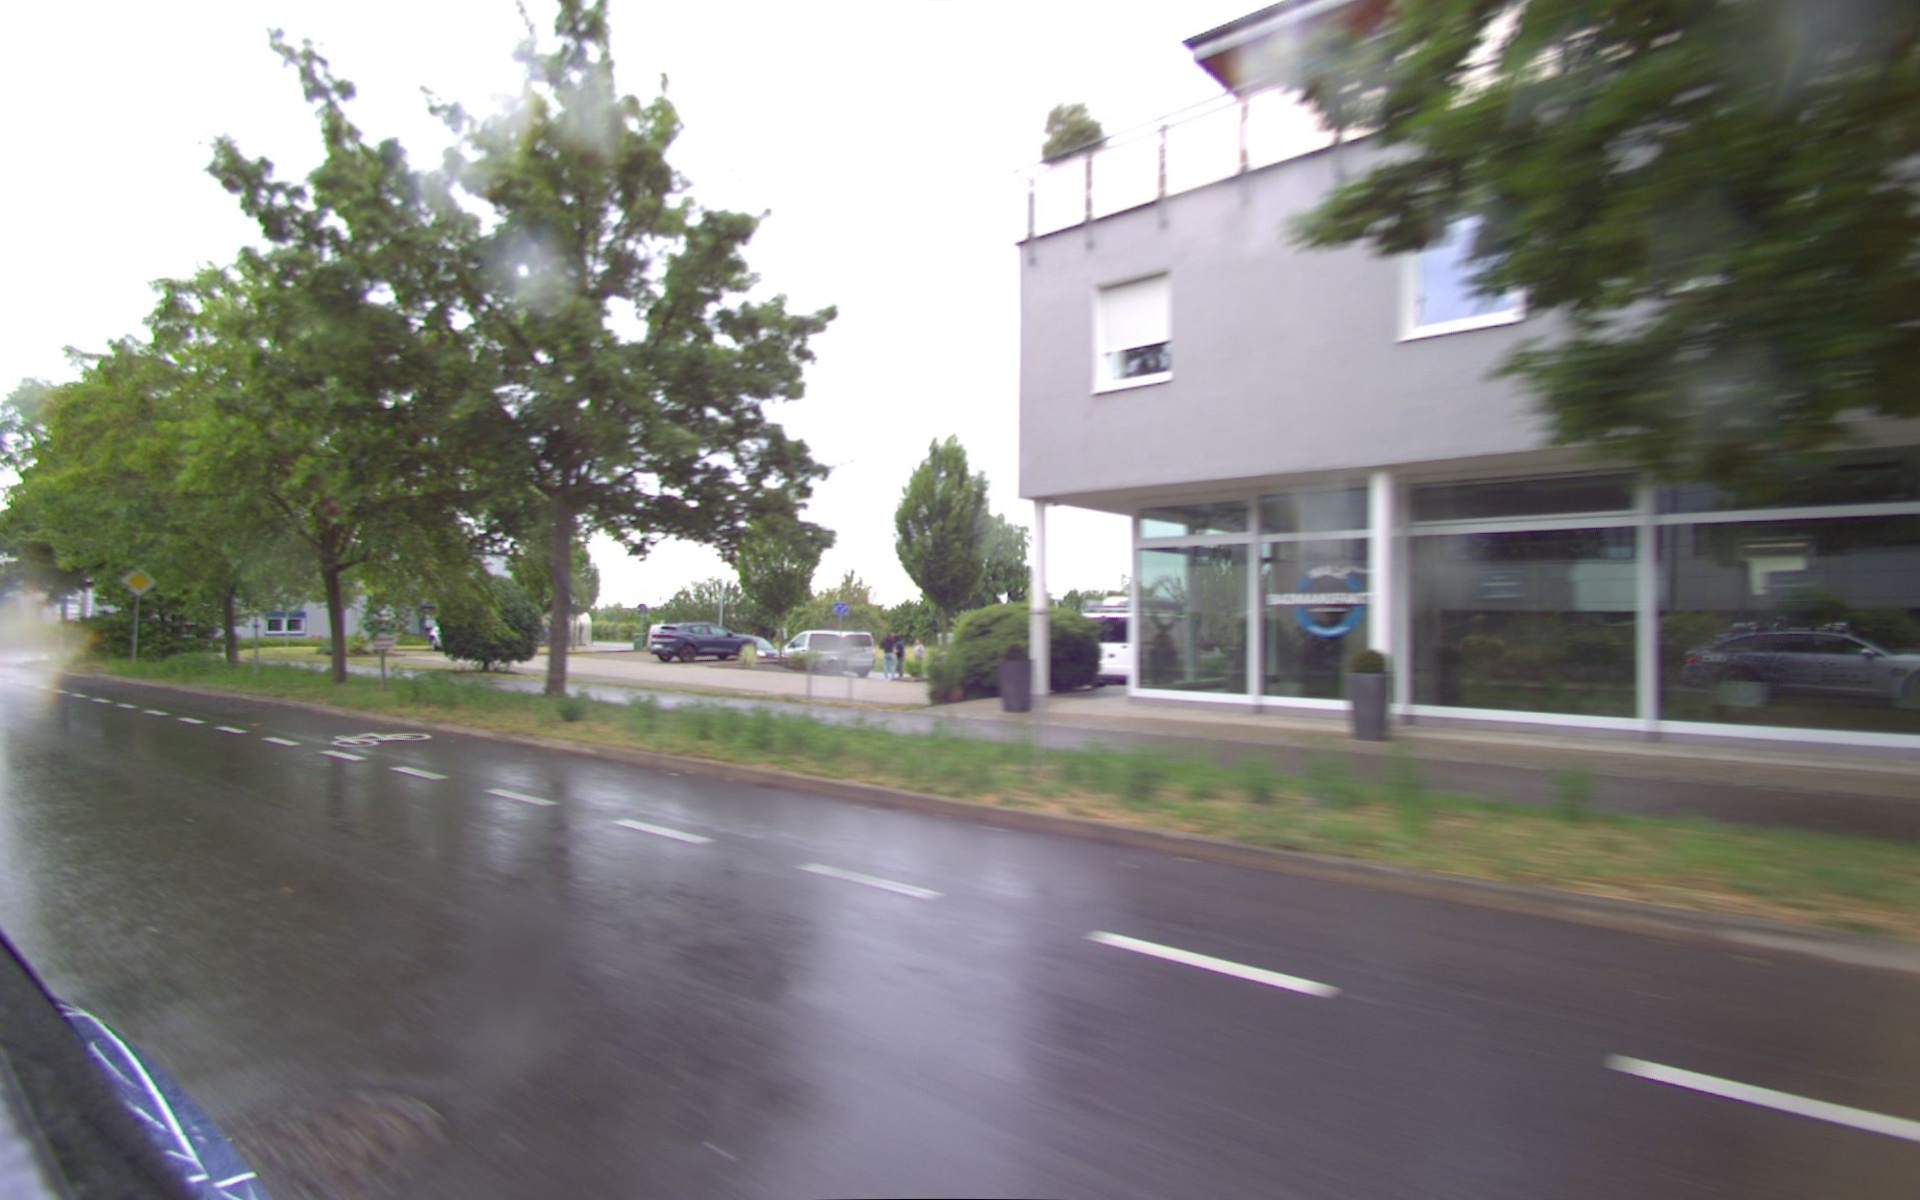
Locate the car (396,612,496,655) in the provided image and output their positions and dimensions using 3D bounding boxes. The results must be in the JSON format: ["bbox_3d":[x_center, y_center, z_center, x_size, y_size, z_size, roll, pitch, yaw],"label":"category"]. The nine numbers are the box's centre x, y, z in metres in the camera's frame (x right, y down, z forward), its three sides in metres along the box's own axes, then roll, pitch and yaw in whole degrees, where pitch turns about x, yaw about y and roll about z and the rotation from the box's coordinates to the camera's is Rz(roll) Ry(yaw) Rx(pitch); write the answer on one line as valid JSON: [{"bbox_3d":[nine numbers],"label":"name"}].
[{"bbox_3d":[-23.608,1.527,46.373,5.603,1.836,2.013,-2,-2,39],"label":"car"}]

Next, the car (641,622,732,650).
[{"bbox_3d":[-13.324,1.766,49.223,4.652,1.239,1.961,-2,-1,40],"label":"car"}]

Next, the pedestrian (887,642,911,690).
[{"bbox_3d":[-2.381,2.561,39.467,0.757,1.851,0.682,-2,-1,10],"label":"pedestrian"}]

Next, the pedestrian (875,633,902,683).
[{"bbox_3d":[-2.712,2.201,38.361,0.764,1.851,0.676,-2,-2,34],"label":"pedestrian"}]

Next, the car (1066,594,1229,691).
[{"bbox_3d":[4.992,1.050,26.597,2.184,2.328,4.429,-2,-2,42],"label":"car"}]

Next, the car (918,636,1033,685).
[{"bbox_3d":[0.498,1.715,29.337,1.702,1.253,3.370,-2,-1,36],"label":"car"}]

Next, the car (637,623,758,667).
[{"bbox_3d":[-10.307,1.712,39.914,4.105,1.568,2.123,0,-1,-44],"label":"car"}]
